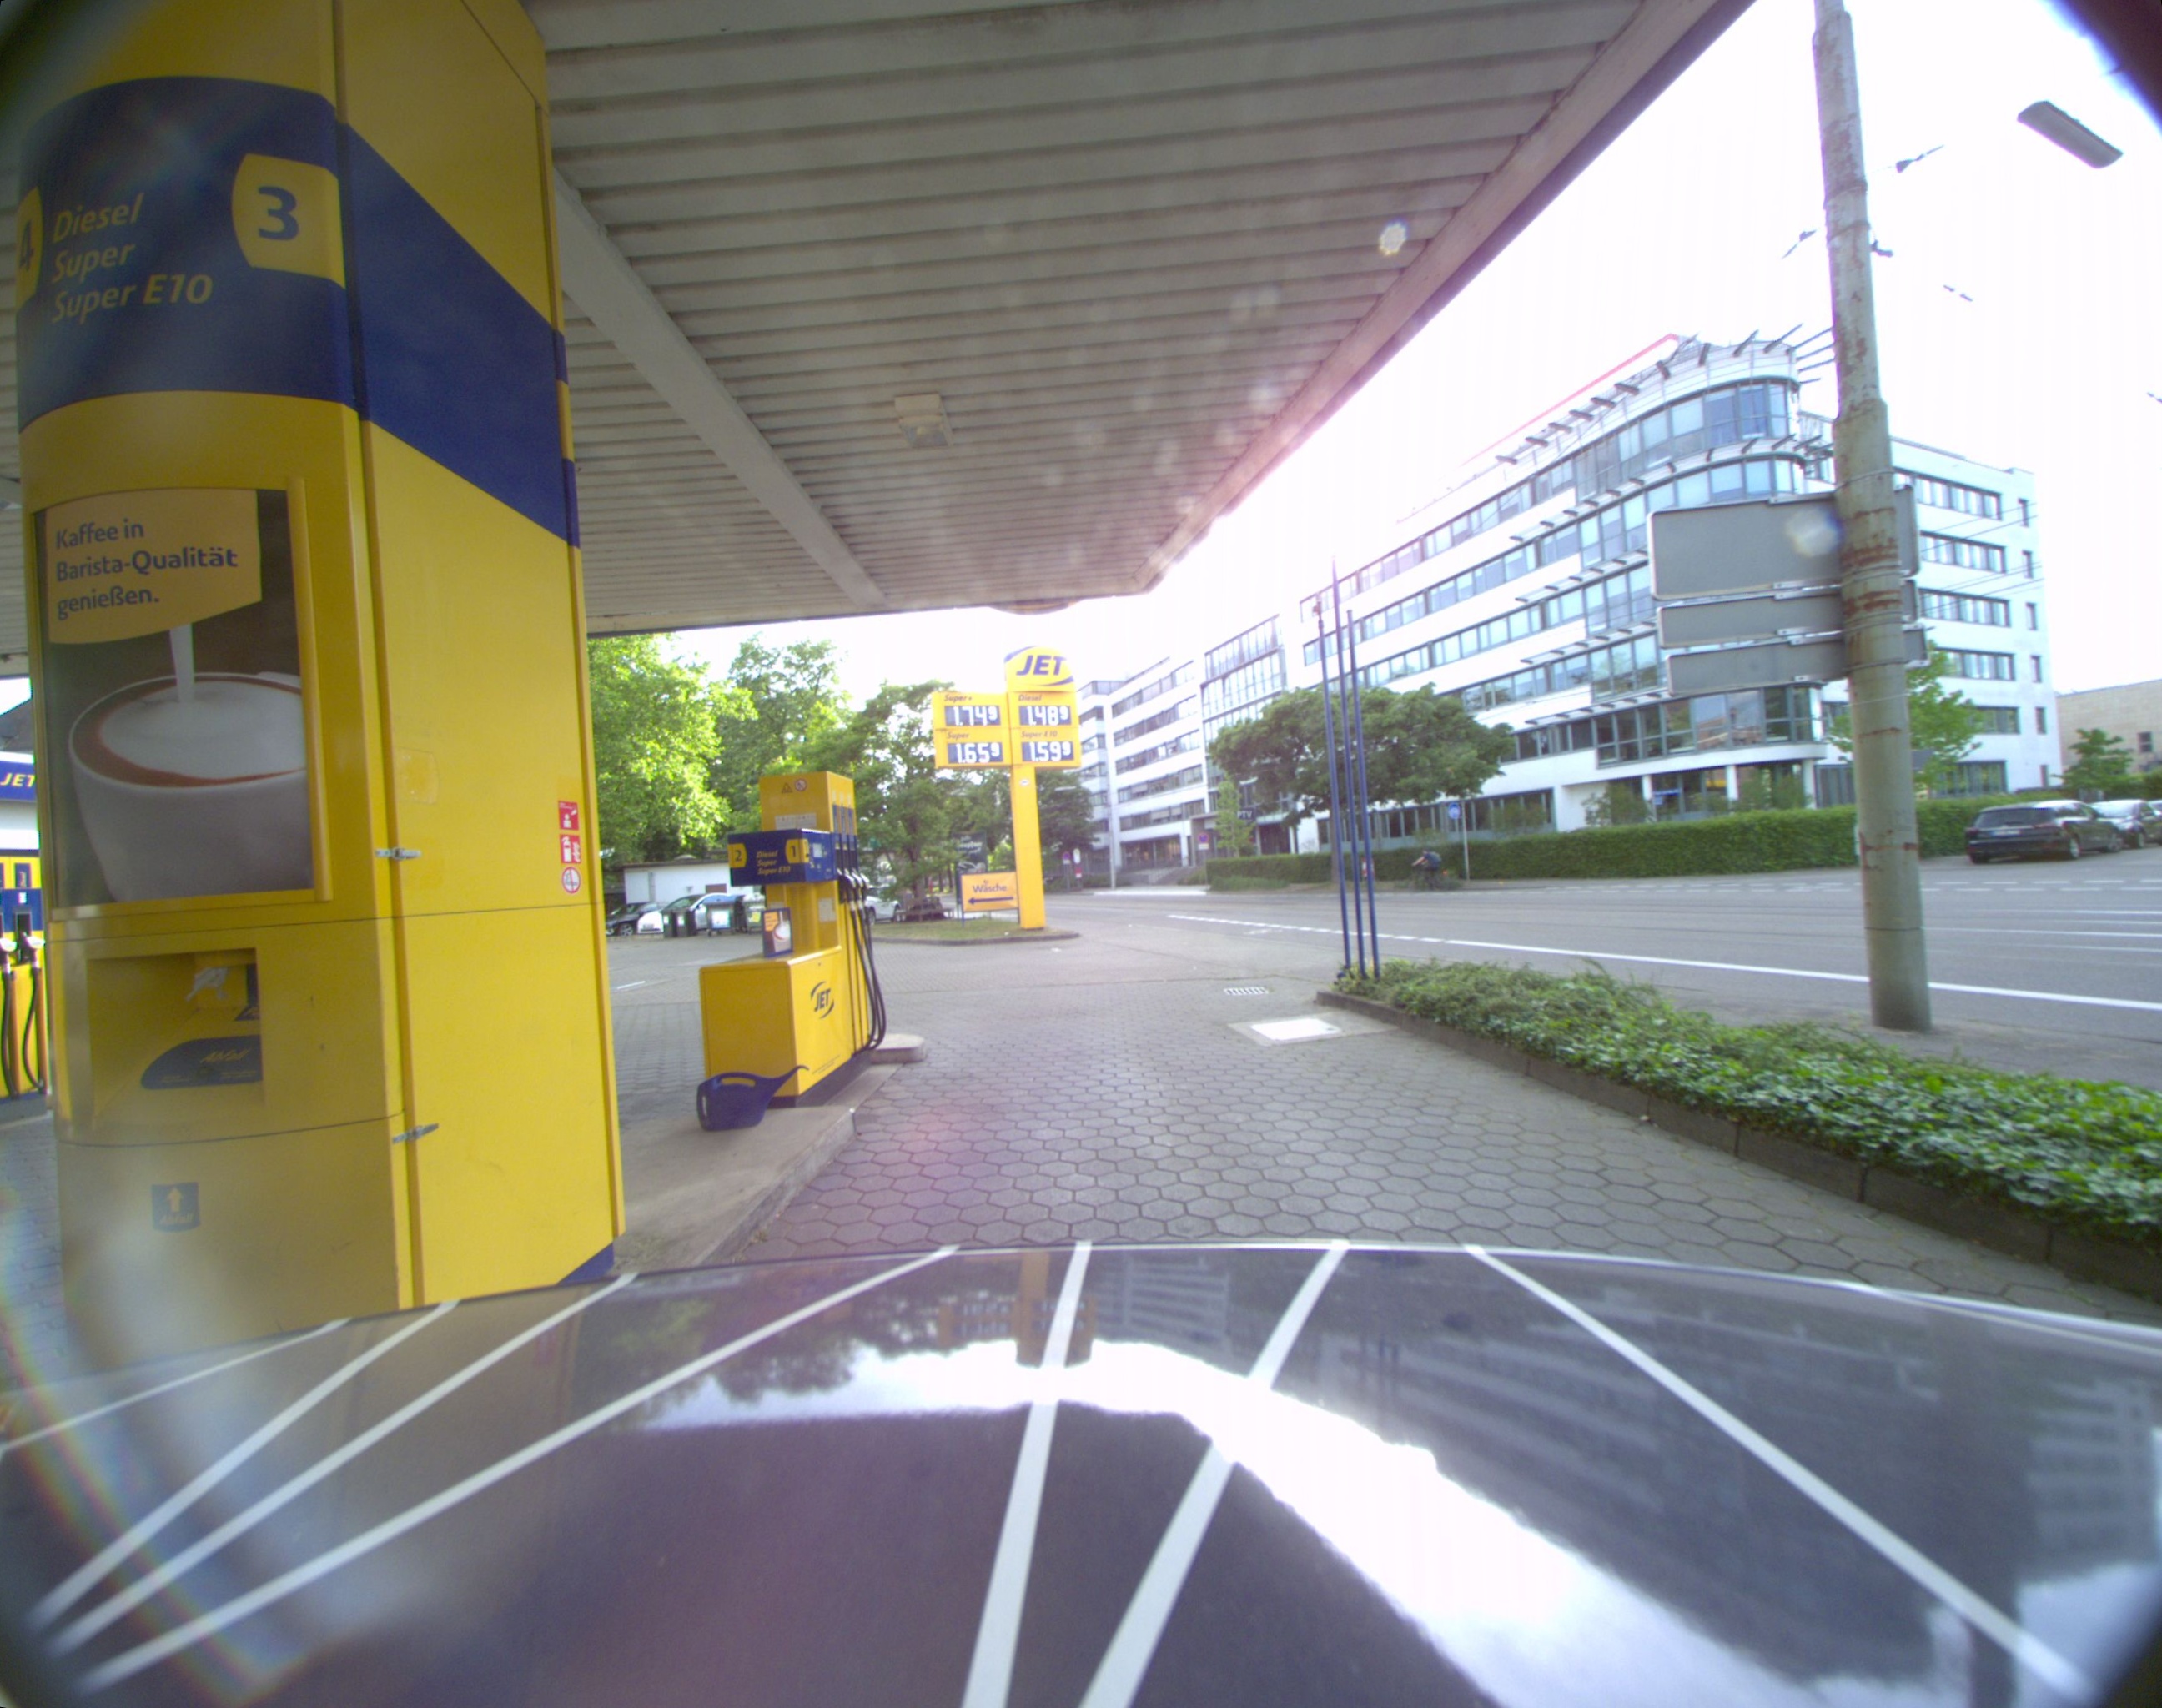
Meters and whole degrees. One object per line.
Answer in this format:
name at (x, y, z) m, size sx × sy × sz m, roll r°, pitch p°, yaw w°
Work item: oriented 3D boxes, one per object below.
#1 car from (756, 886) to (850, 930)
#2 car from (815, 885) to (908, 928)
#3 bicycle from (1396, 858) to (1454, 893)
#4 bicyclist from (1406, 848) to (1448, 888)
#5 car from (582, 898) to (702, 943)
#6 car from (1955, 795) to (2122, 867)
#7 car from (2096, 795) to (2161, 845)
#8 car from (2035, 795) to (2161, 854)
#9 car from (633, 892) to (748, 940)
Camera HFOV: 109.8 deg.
car at (-11.748, 2.252, 32.467) m, size 1.823 × 1.575 × 4.200 m, roll -4°, pitch -2°, yaw 10°
car at (-8.658, 2.036, 30.380) m, size 1.823 × 1.449 × 4.200 m, roll -4°, pitch -2°, yaw 10°
bicycle at (13.013, 0.796, 28.791) m, size 0.792 × 1.232 × 1.878 m, roll -3°, pitch 1°, yaw -29°
bicyclist at (13.061, 0.531, 28.679) m, size 0.792 × 1.443 × 1.173 m, roll -3°, pitch 1°, yaw -29°
car at (-17.536, 2.616, 30.610) m, size 1.823 × 1.426 × 4.200 m, roll -4°, pitch -2°, yaw 10°
car at (27.417, -0.666, 21.759) m, size 4.397 × 1.678 × 1.820 m, roll -4°, pitch -1°, yaw -24°
car at (37.104, -1.247, 26.017) m, size 4.201 × 1.568 × 1.820 m, roll -4°, pitch -1°, yaw -24°
car at (32.575, -0.954, 24.069) m, size 4.201 × 1.568 × 1.820 m, roll -4°, pitch -1°, yaw -24°
car at (-15.392, 2.398, 30.256) m, size 1.823 × 1.575 × 4.200 m, roll -4°, pitch -2°, yaw 10°
